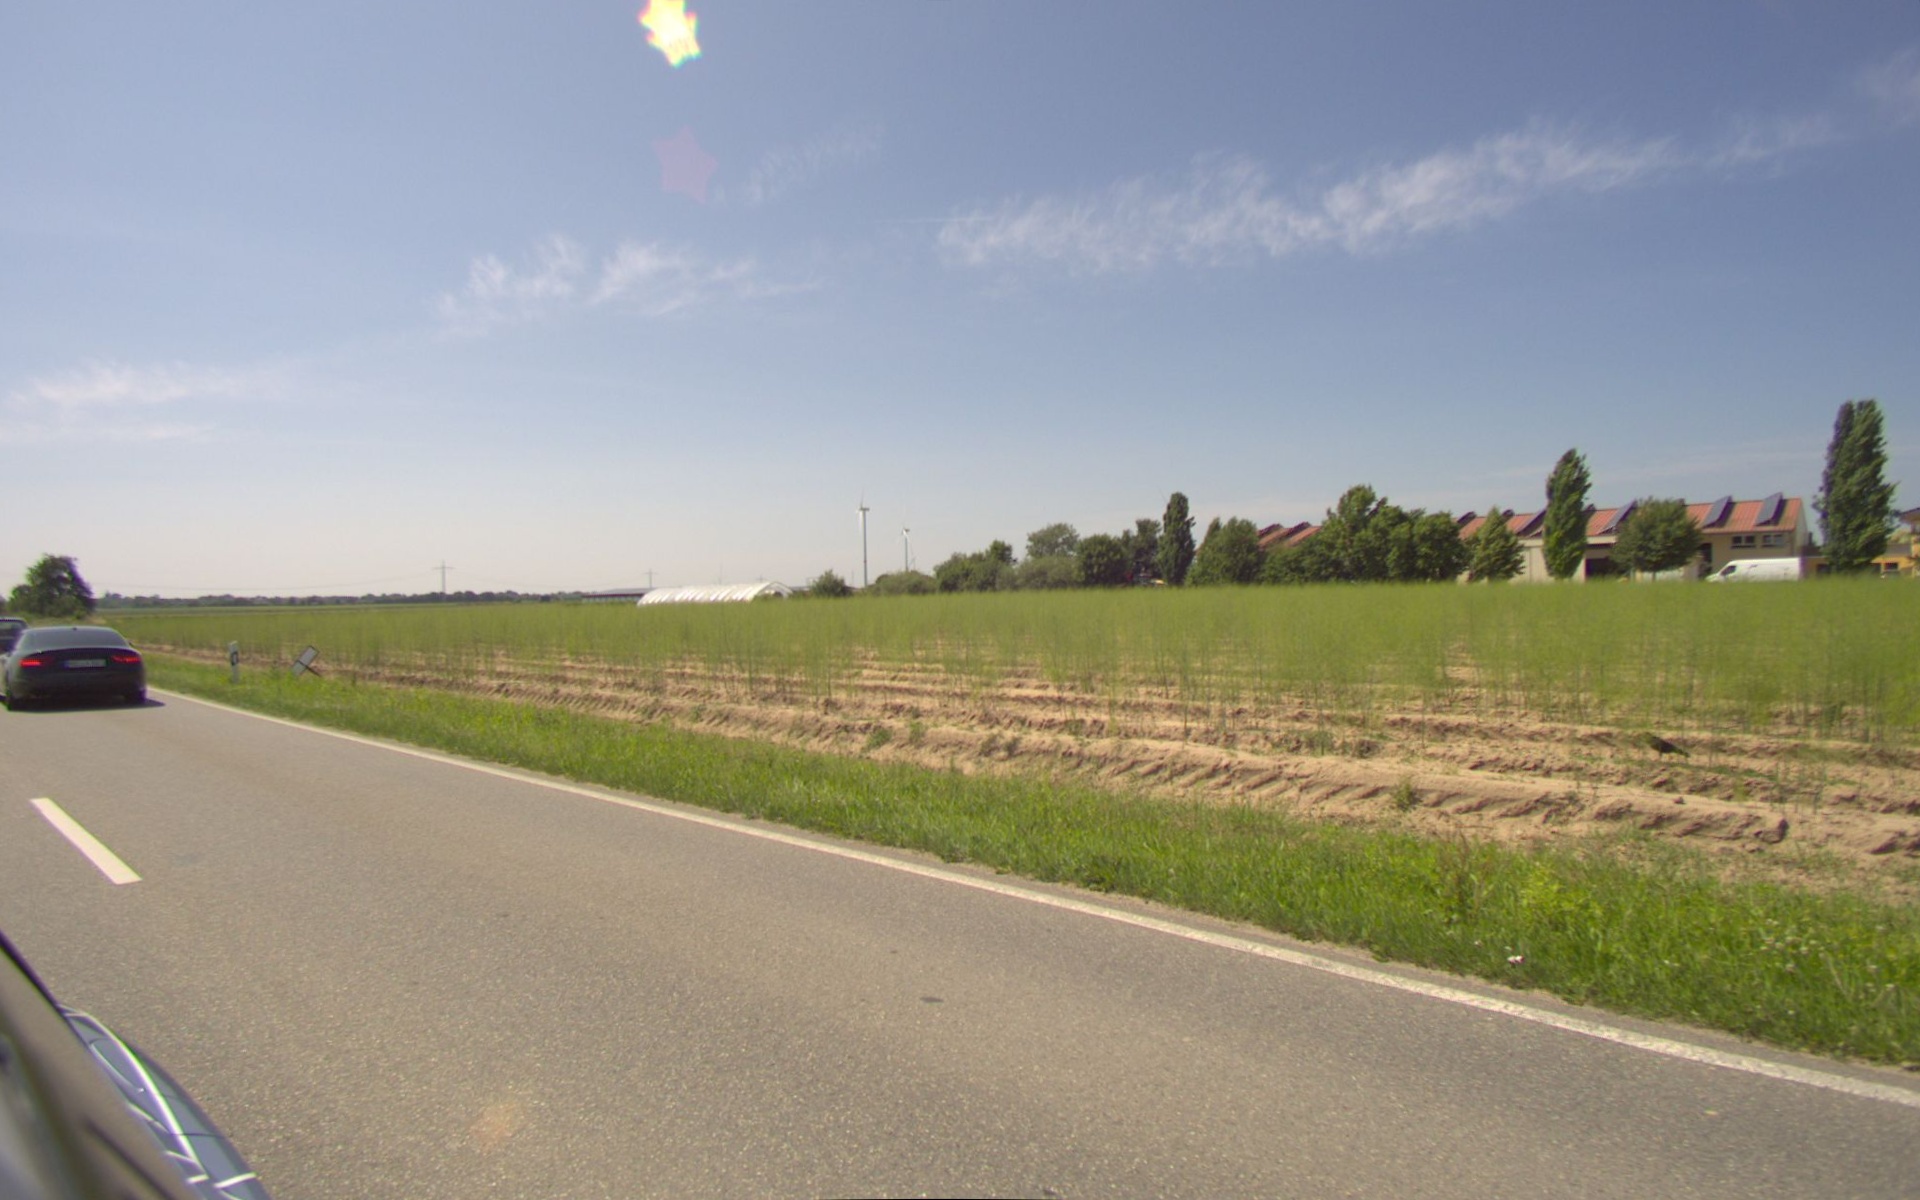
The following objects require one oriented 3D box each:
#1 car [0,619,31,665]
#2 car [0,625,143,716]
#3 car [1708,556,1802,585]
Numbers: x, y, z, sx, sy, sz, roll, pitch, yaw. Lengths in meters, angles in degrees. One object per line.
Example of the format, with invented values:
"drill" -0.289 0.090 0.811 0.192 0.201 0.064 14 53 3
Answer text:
"car" -34.370 1.467 35.938 4.142 1.544 1.721 -1 0 43
"car" -15.893 1.147 17.848 4.418 1.367 1.722 -1 -1 43
"car" 61.511 -2.258 78.378 1.844 2.077 5.507 -2 1 -45
